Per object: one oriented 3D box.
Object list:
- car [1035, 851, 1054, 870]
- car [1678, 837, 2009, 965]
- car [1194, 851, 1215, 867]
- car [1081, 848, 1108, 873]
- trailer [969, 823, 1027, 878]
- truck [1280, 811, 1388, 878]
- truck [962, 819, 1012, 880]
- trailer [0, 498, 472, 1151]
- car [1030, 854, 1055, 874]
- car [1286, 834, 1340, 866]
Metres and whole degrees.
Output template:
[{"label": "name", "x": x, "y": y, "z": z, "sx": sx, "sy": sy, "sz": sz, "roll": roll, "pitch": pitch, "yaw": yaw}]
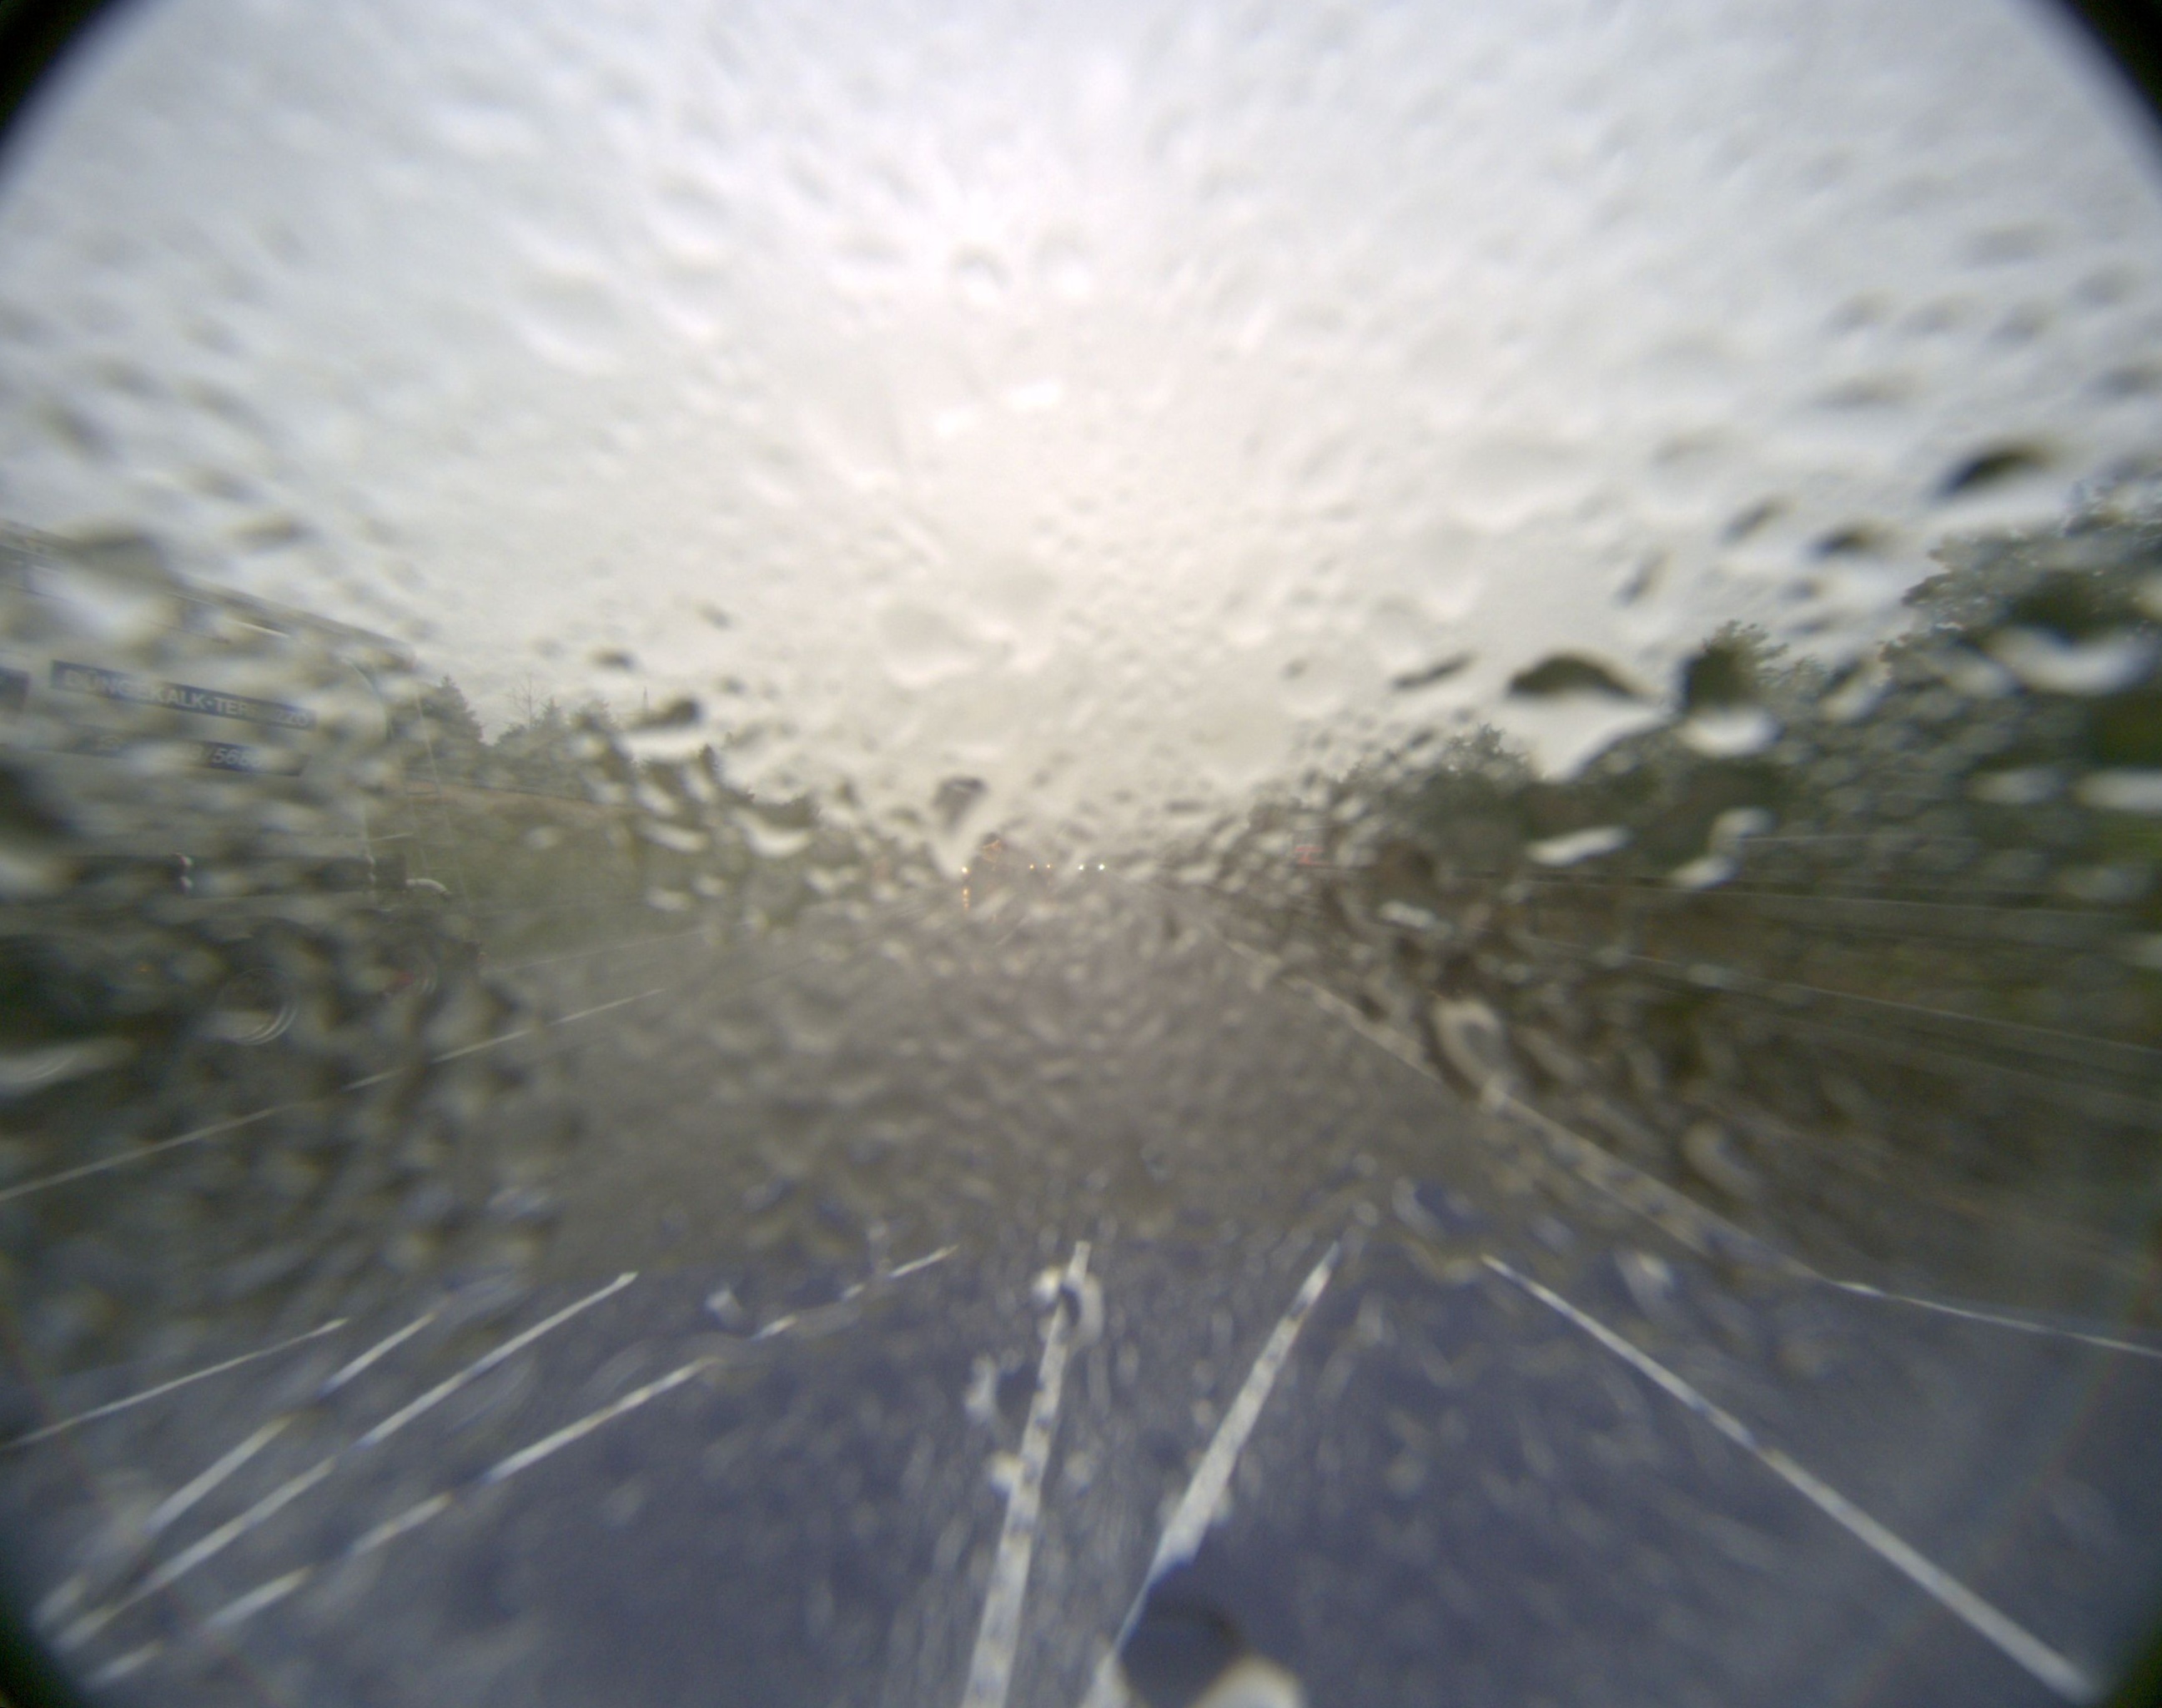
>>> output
[{"label": "car", "x": -3.173, "y": 0.575, "z": 66.502, "sx": 1.517, "sy": 1.606, "sz": 3.186, "roll": -2, "pitch": 0, "yaw": 0}, {"label": "car", "x": 15.160, "y": 0.842, "z": 15.611, "sx": 2.038, "sy": 2.160, "sz": 4.665, "roll": -2, "pitch": 0, "yaw": 0}, {"label": "car", "x": 16.819, "y": 0.684, "z": 103.790, "sx": 1.934, "sy": 2.001, "sz": 5.402, "roll": -2, "pitch": 0, "yaw": 0}, {"label": "car", "x": 0.957, "y": 0.463, "z": 55.527, "sx": 1.845, "sy": 1.670, "sz": 4.000, "roll": -2, "pitch": 0, "yaw": 0}, {"label": "trailer", "x": -6.340, "y": -0.181, "z": 60.743, "sx": 2.486, "sy": 3.743, "sz": 16.546, "roll": -2, "pitch": -1, "yaw": 1}, {"label": "truck", "x": 20.237, "y": -0.609, "z": 62.494, "sx": 2.973, "sy": 4.647, "sz": 17.099, "roll": -2, "pitch": -1, "yaw": 0}, {"label": "truck", "x": -6.406, "y": -0.258, "z": 52.578, "sx": 2.457, "sy": 3.866, "sz": 6.200, "roll": -2, "pitch": 0, "yaw": 1}, {"label": "trailer", "x": -7.635, "y": -0.169, "z": 2.307, "sx": 2.503, "sy": 3.859, "sz": 11.067, "roll": -2, "pitch": 0, "yaw": 0}, {"label": "car", "x": -3.039, "y": 0.797, "z": 60.930, "sx": 1.663, "sy": 1.491, "sz": 3.837, "roll": -2, "pitch": 0, "yaw": 1}, {"label": "car", "x": 15.621, "y": -0.242, "z": 51.423, "sx": 1.999, "sy": 1.973, "sz": 5.015, "roll": -2, "pitch": 0, "yaw": 0}]
